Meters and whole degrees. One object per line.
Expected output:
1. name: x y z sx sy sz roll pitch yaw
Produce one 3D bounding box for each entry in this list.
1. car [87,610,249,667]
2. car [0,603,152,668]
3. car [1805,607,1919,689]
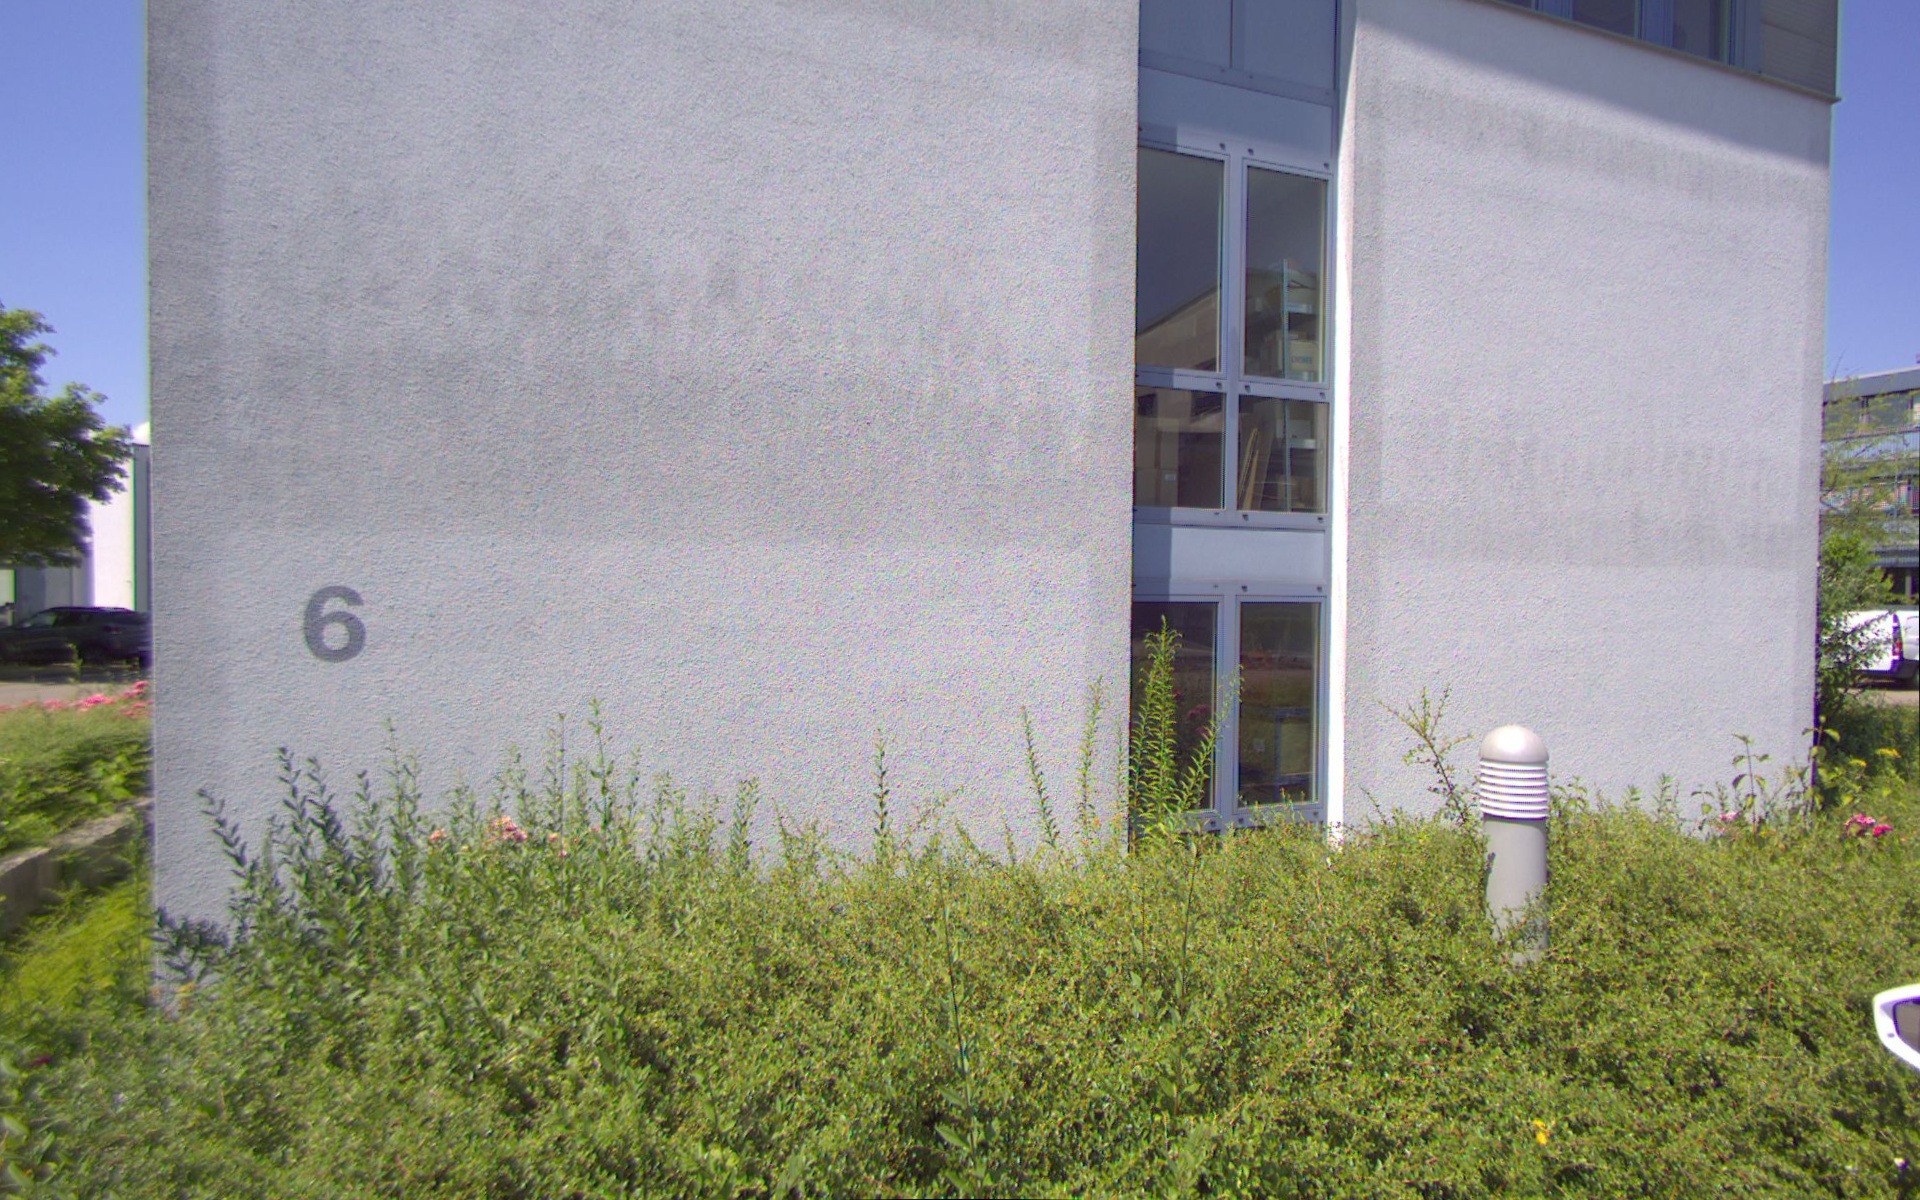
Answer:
1. car: -21.173 1.022 26.942 3.030 1.443 1.548 1 -1 -5
2. car: -21.845 0.849 24.459 2.943 1.443 1.548 2 -1 -5
3. car: 23.849 1.149 25.356 4.733 1.916 1.878 0 0 -22
